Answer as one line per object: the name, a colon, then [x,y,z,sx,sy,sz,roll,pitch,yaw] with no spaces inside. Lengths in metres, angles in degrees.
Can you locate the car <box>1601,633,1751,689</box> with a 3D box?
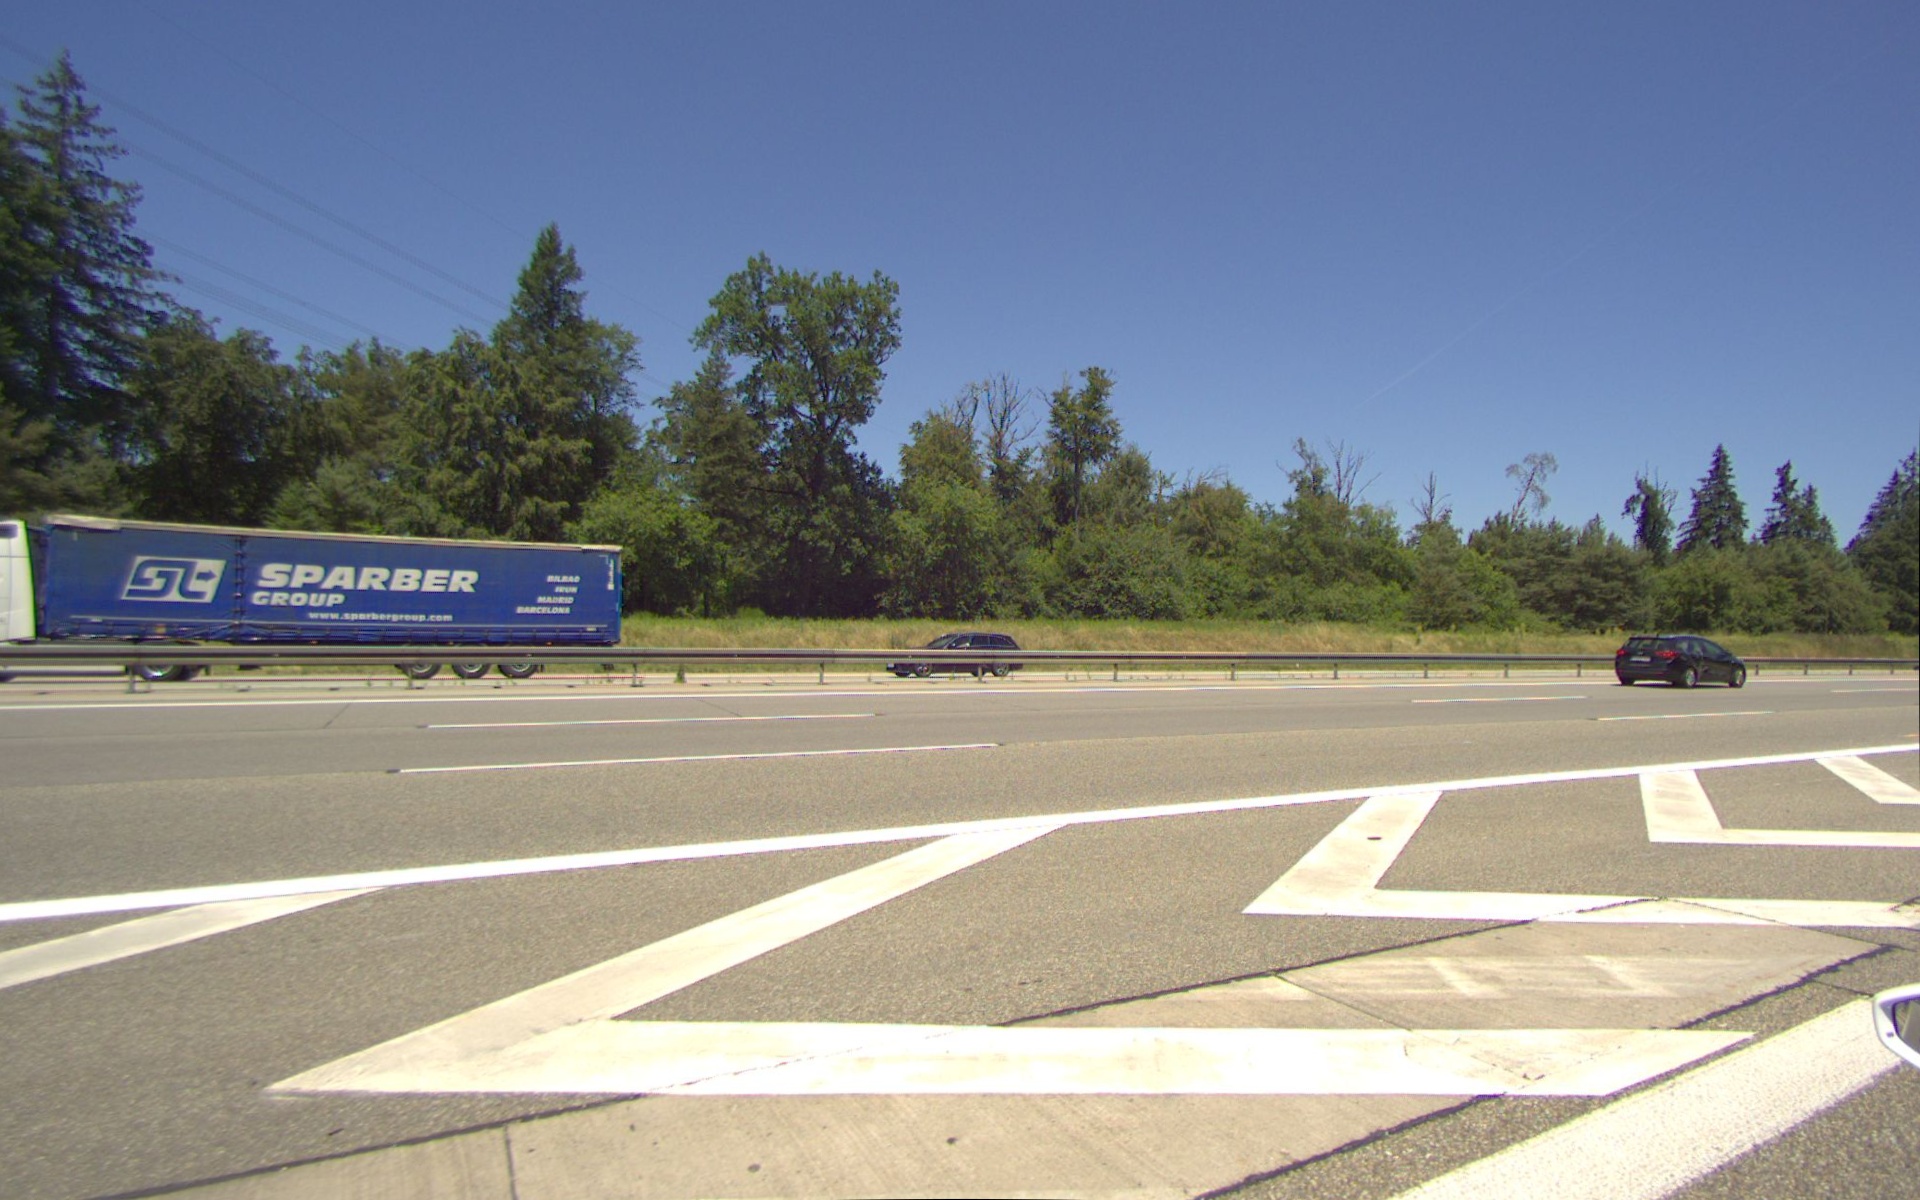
car: [20.702,1.717,29.008,4.538,1.494,1.697,1,-1,-28]

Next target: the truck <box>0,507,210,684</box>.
truck: [-23.129,-0.037,25.762,5.652,4.227,3.190,2,-3,-28]

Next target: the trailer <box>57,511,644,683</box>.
trailer: [-16.640,0.197,29.261,13.810,4.227,3.190,2,-3,-28]

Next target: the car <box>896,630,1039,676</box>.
car: [0.264,1.719,32.810,4.379,1.421,1.754,2,-3,-29]
